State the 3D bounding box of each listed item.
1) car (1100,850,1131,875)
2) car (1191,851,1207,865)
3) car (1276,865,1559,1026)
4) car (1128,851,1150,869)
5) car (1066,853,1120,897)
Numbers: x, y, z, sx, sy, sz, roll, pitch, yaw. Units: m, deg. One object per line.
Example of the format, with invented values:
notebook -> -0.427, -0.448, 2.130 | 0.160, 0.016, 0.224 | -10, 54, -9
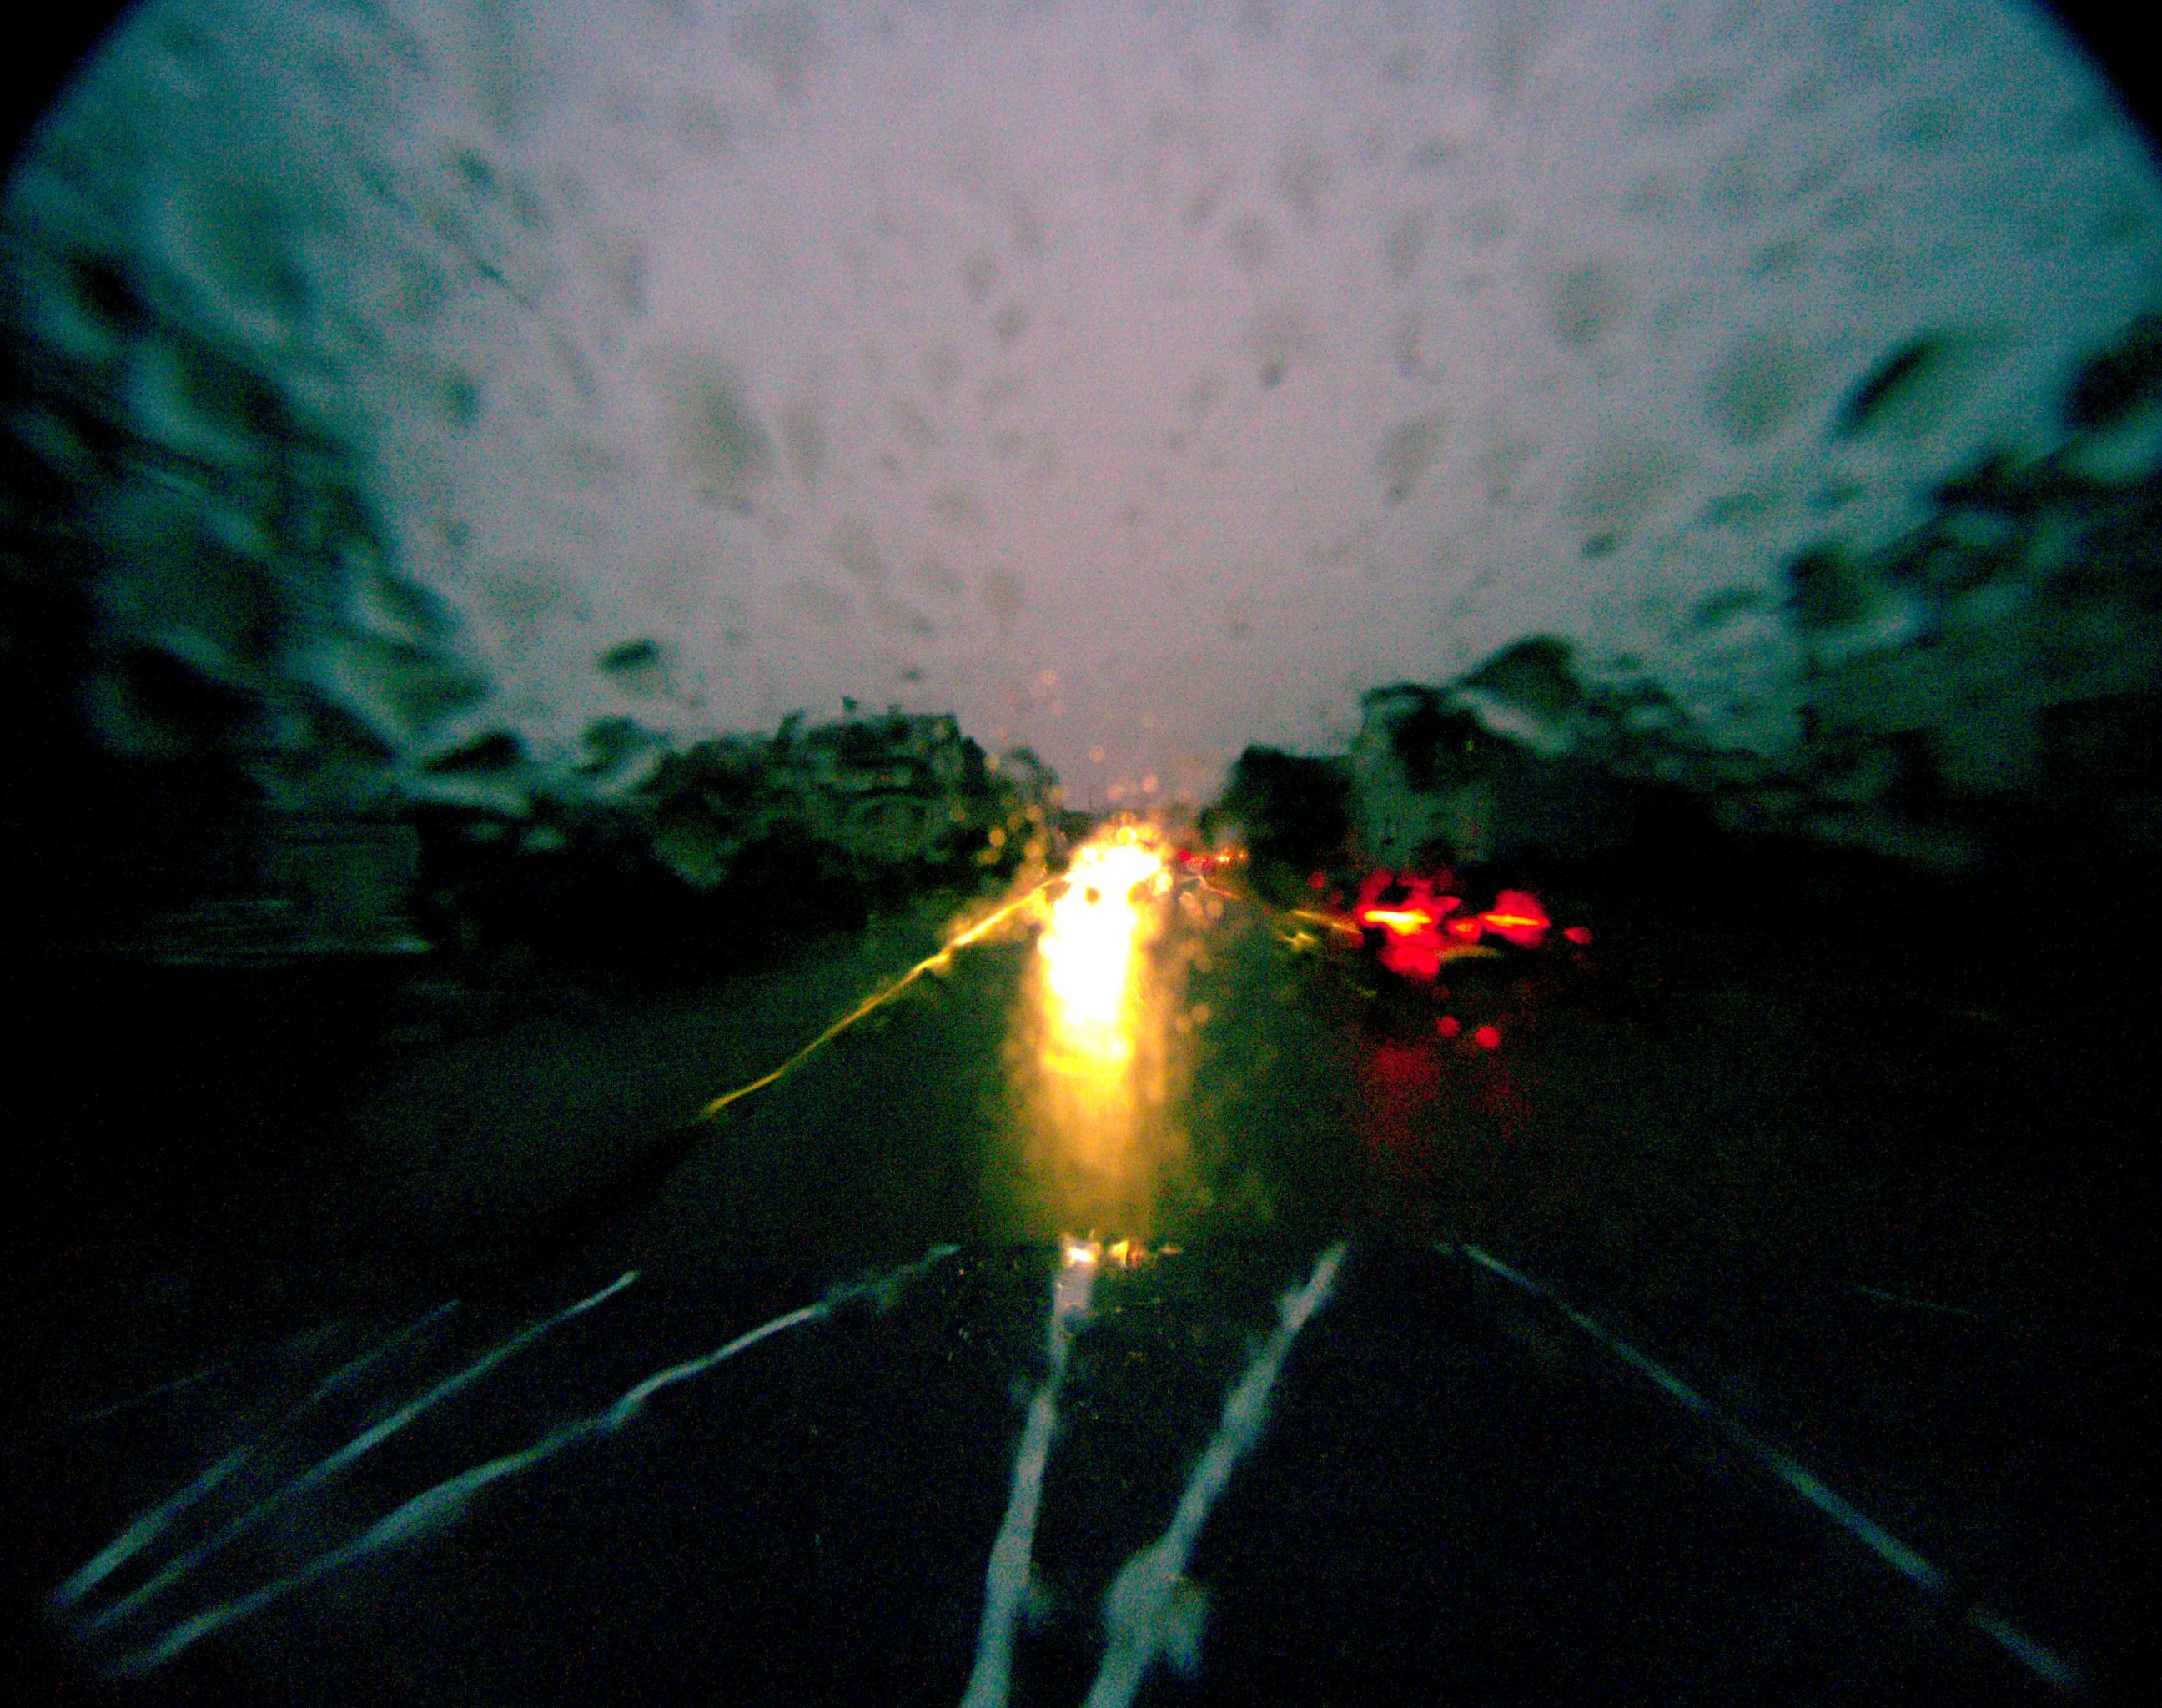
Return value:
car -> 2.366, 0.558, 51.819 | 1.998, 1.660, 4.000 | -1, 0, 2
car -> 15.725, 0.475, 101.035 | 1.966, 1.688, 4.003 | -2, 1, 10
car -> 3.748, 0.912, 9.310 | 1.708, 1.433, 4.000 | 1, 1, 1
car -> 5.813, 0.602, 75.710 | 1.774, 1.608, 3.875 | -2, 1, 11
car -> 0.463, 0.771, 29.922 | 1.998, 1.575, 4.000 | 0, 0, 0
